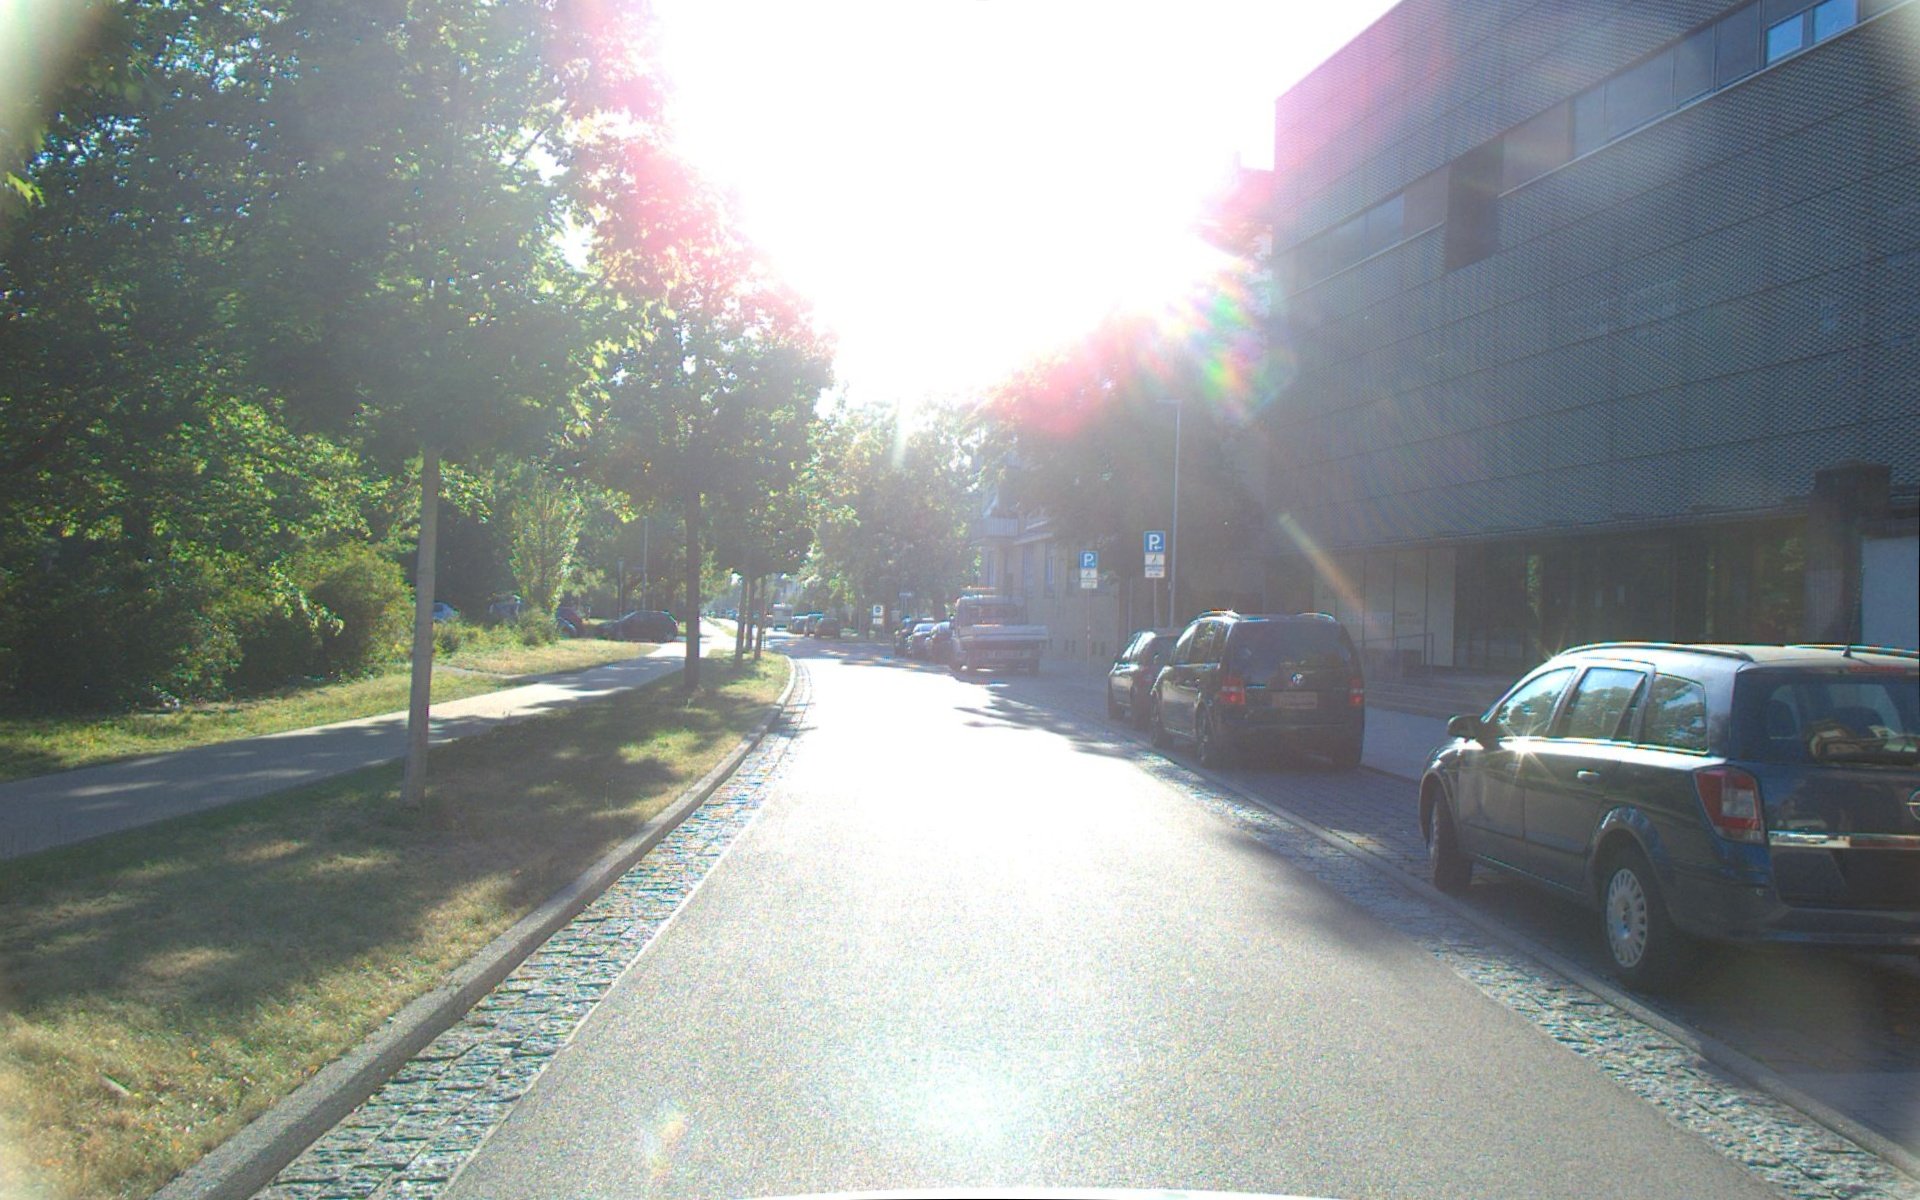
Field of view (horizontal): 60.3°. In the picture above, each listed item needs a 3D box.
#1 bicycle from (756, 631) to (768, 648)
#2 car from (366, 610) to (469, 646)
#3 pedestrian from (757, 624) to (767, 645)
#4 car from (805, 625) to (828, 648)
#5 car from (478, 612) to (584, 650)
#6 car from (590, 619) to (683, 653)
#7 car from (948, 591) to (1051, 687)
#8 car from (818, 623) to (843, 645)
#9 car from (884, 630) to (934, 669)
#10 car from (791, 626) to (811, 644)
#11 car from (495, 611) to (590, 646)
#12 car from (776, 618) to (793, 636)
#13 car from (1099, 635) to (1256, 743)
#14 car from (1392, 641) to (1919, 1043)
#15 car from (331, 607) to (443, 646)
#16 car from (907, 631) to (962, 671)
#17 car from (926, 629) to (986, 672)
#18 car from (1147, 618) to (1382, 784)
[{"bbox_3d":[-14.359,2.850,119.848,0.675,1.223,2.341,2,-1,-4],"label":"bicycle"},{"bbox_3d":[-23.849,1.236,72.738,3.951,1.445,1.751,3,-1,-34],"label":"car"},{"bbox_3d":[-14.351,2.487,119.889,0.675,1.459,1.023,2,-1,-4],"label":"pedestrian"},{"bbox_3d":[-11.807,2.977,136.267,1.759,1.755,3.994,2,-1,-6],"label":"car"},{"bbox_3d":[-17.896,1.281,69.026,3.950,1.445,1.751,3,-1,-33],"label":"car"},{"bbox_3d":[-15.223,1.682,77.856,3.952,1.445,1.751,3,-1,-34],"label":"car"},{"bbox_3d":[1.050,1.088,47.881,2.169,2.574,6.138,0,-1,-6],"label":"car"},{"bbox_3d":[-9.543,2.490,122.274,1.758,1.536,3.997,2,-1,-4],"label":"car"},{"bbox_3d":[-2.184,2.082,70.132,1.659,1.593,4.096,1,-1,-8],"label":"car"},{"bbox_3d":[-14.631,3.200,151.806,1.759,1.536,3.994,2,-1,-6],"label":"car"},{"bbox_3d":[-19.090,1.301,75.648,3.872,1.445,1.753,3,-1,-31],"label":"car"},{"bbox_3d":[-19.939,3.073,187.962,1.759,2.034,3.994,2,-1,-6],"label":"car"},{"bbox_3d":[3.181,1.274,24.872,1.690,1.446,3.904,1,-1,-3],"label":"car"},{"bbox_3d":[3.760,0.975,8.572,1.712,1.492,4.475,0,-1,-2],"label":"car"},{"bbox_3d":[-22.935,1.067,66.240,3.947,1.445,1.753,2,-1,-31],"label":"car"},{"bbox_3d":[-1.022,1.950,64.234,1.659,1.466,4.096,1,-1,-8],"label":"car"},{"bbox_3d":[-0.168,1.789,59.092,1.659,1.466,3.544,1,-1,-8],"label":"car"},{"bbox_3d":[3.366,1.056,19.032,1.690,1.698,4.110,0,-1,-4],"label":"car"}]
